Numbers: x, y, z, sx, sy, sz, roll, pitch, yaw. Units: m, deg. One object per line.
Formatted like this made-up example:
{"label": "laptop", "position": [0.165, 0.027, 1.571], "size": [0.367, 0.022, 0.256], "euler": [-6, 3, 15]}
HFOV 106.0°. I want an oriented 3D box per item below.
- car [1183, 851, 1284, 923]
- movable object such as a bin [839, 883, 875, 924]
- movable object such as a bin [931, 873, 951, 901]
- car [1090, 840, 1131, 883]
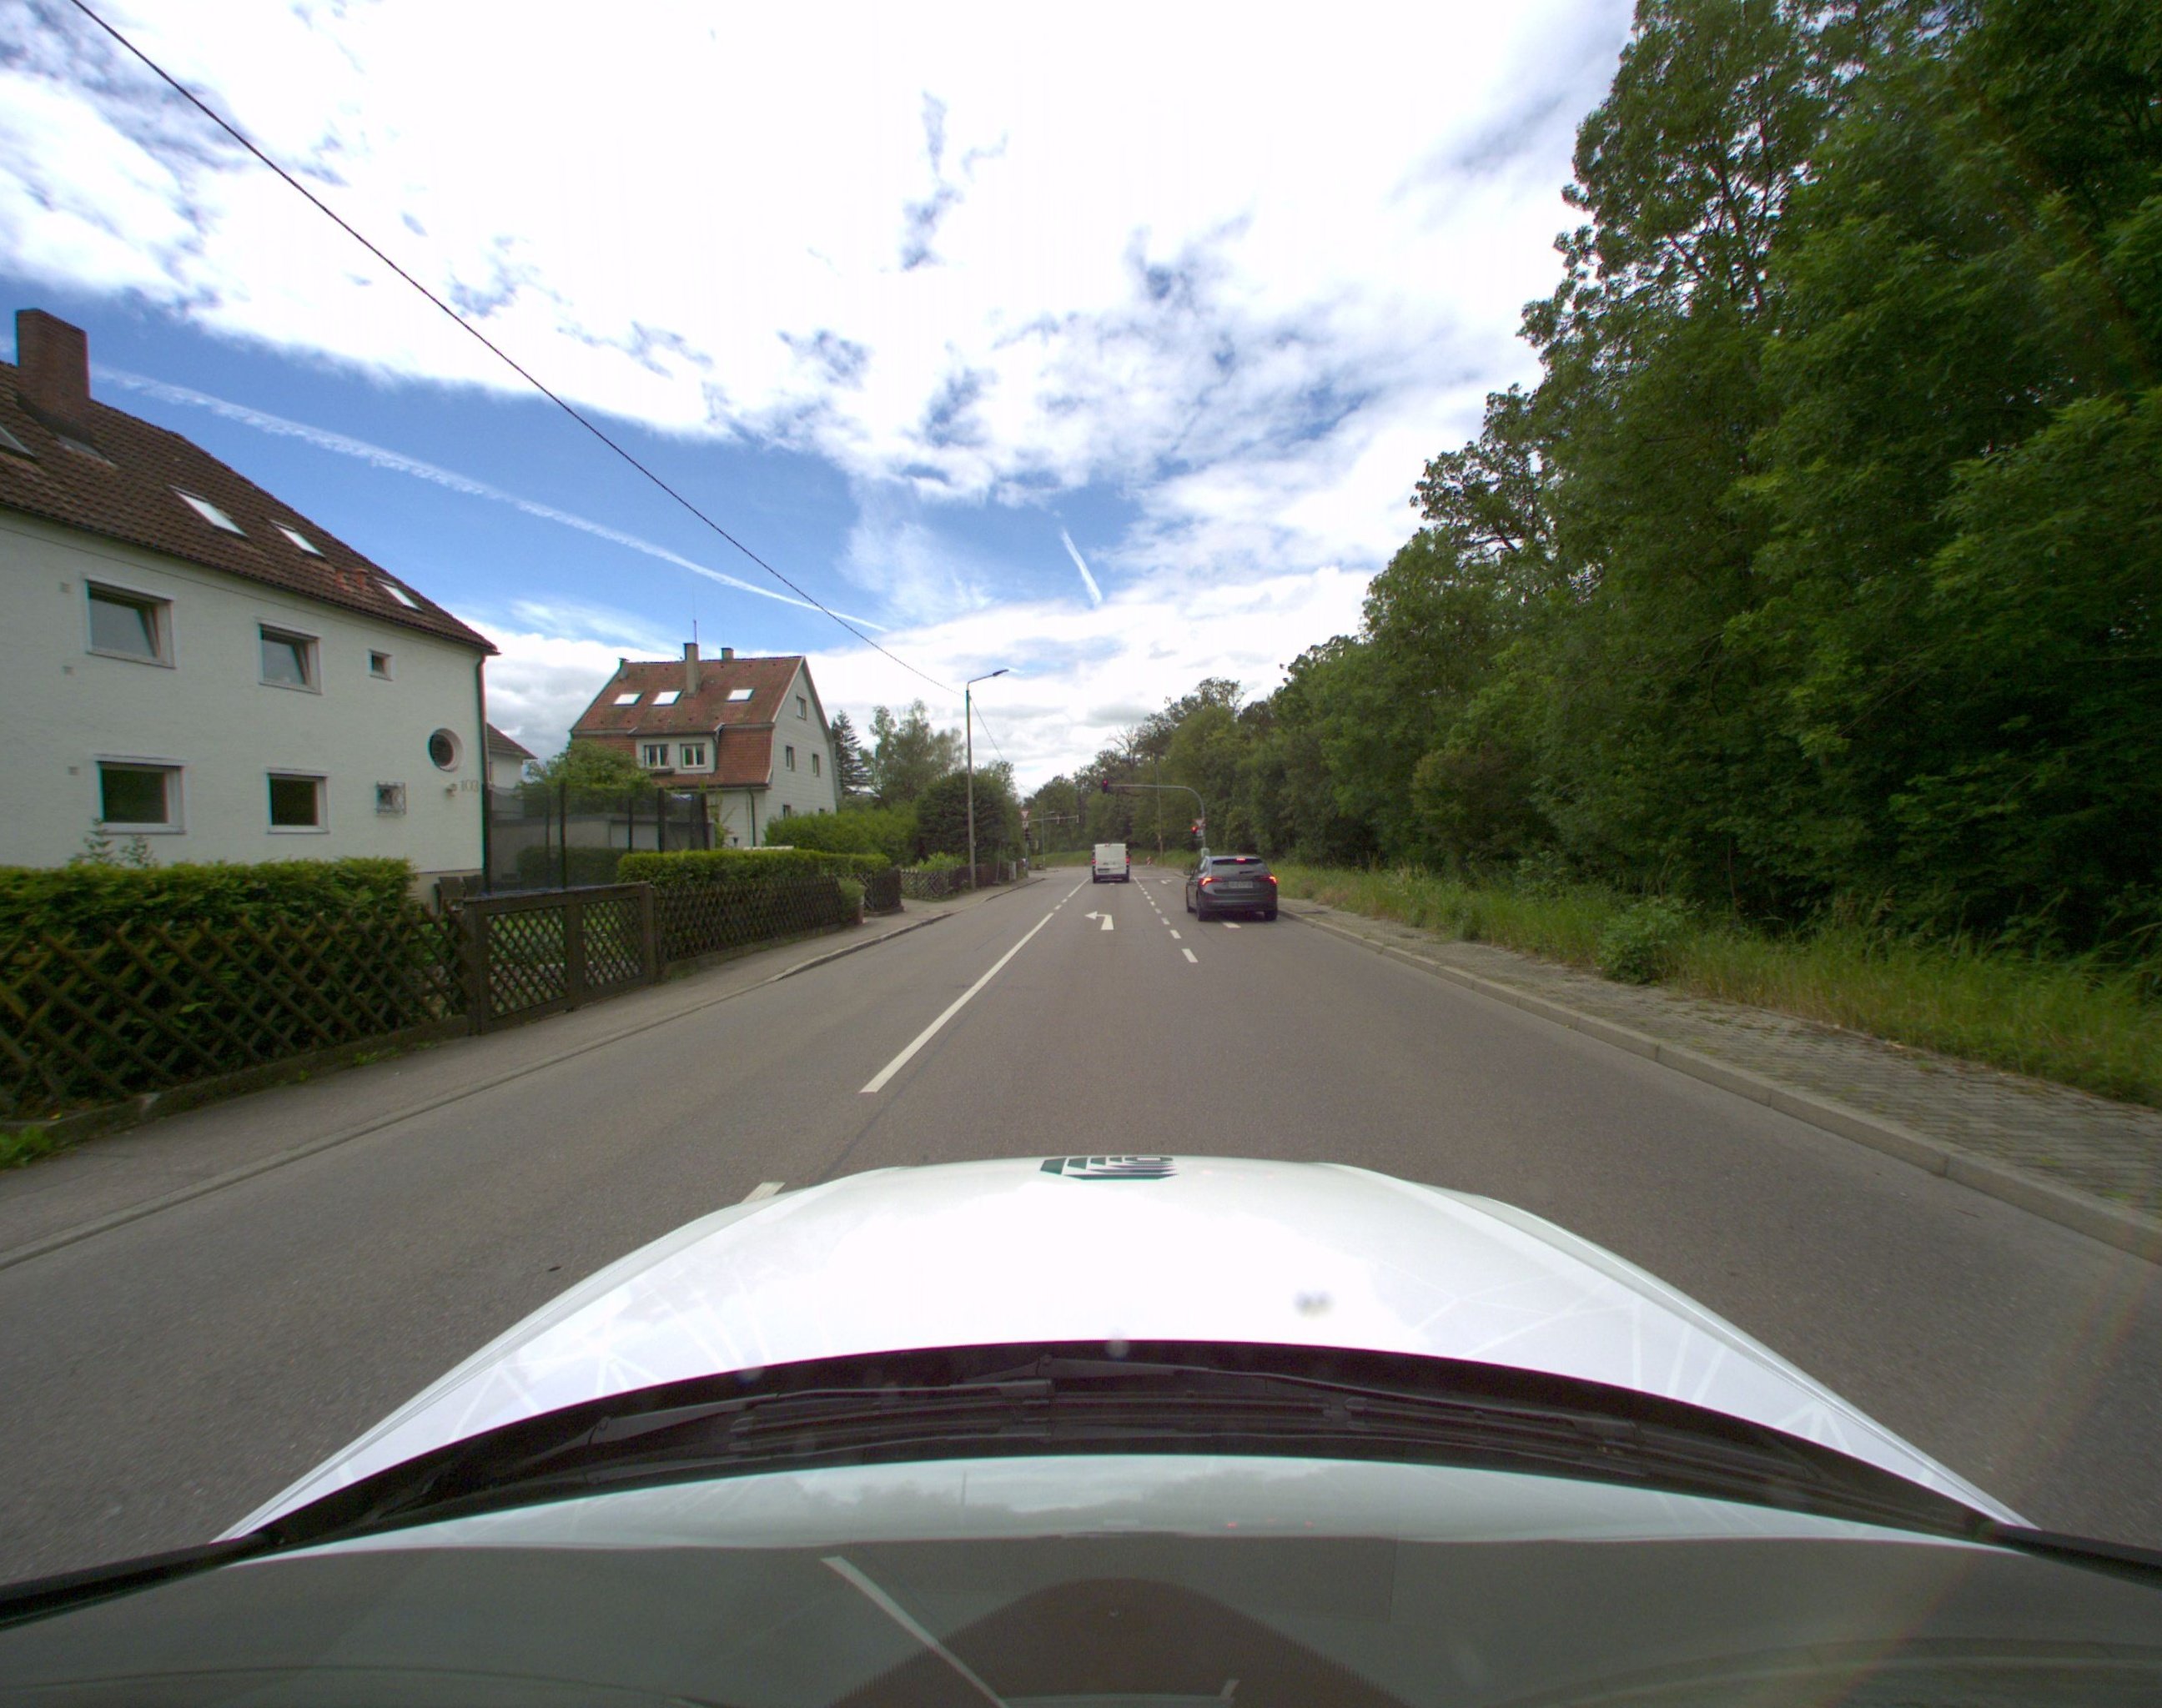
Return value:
{"label": "car", "position": [3.440, 0.690, 19.077], "size": [1.785, 1.450, 4.003], "euler": [-2, 0, 3]}
{"label": "movable object such as a bin", "position": [-5.338, 1.170, 19.399], "size": [0.628, 0.913, 0.562], "euler": [1, 0, 15]}
{"label": "movable object such as a bin", "position": [-4.943, 1.170, 28.802], "size": [0.548, 0.938, 0.538], "euler": [-2, 0, 4]}
{"label": "car", "position": [1.466, 0.369, 42.233], "size": [1.910, 2.053, 4.614], "euler": [-2, 0, 0]}
